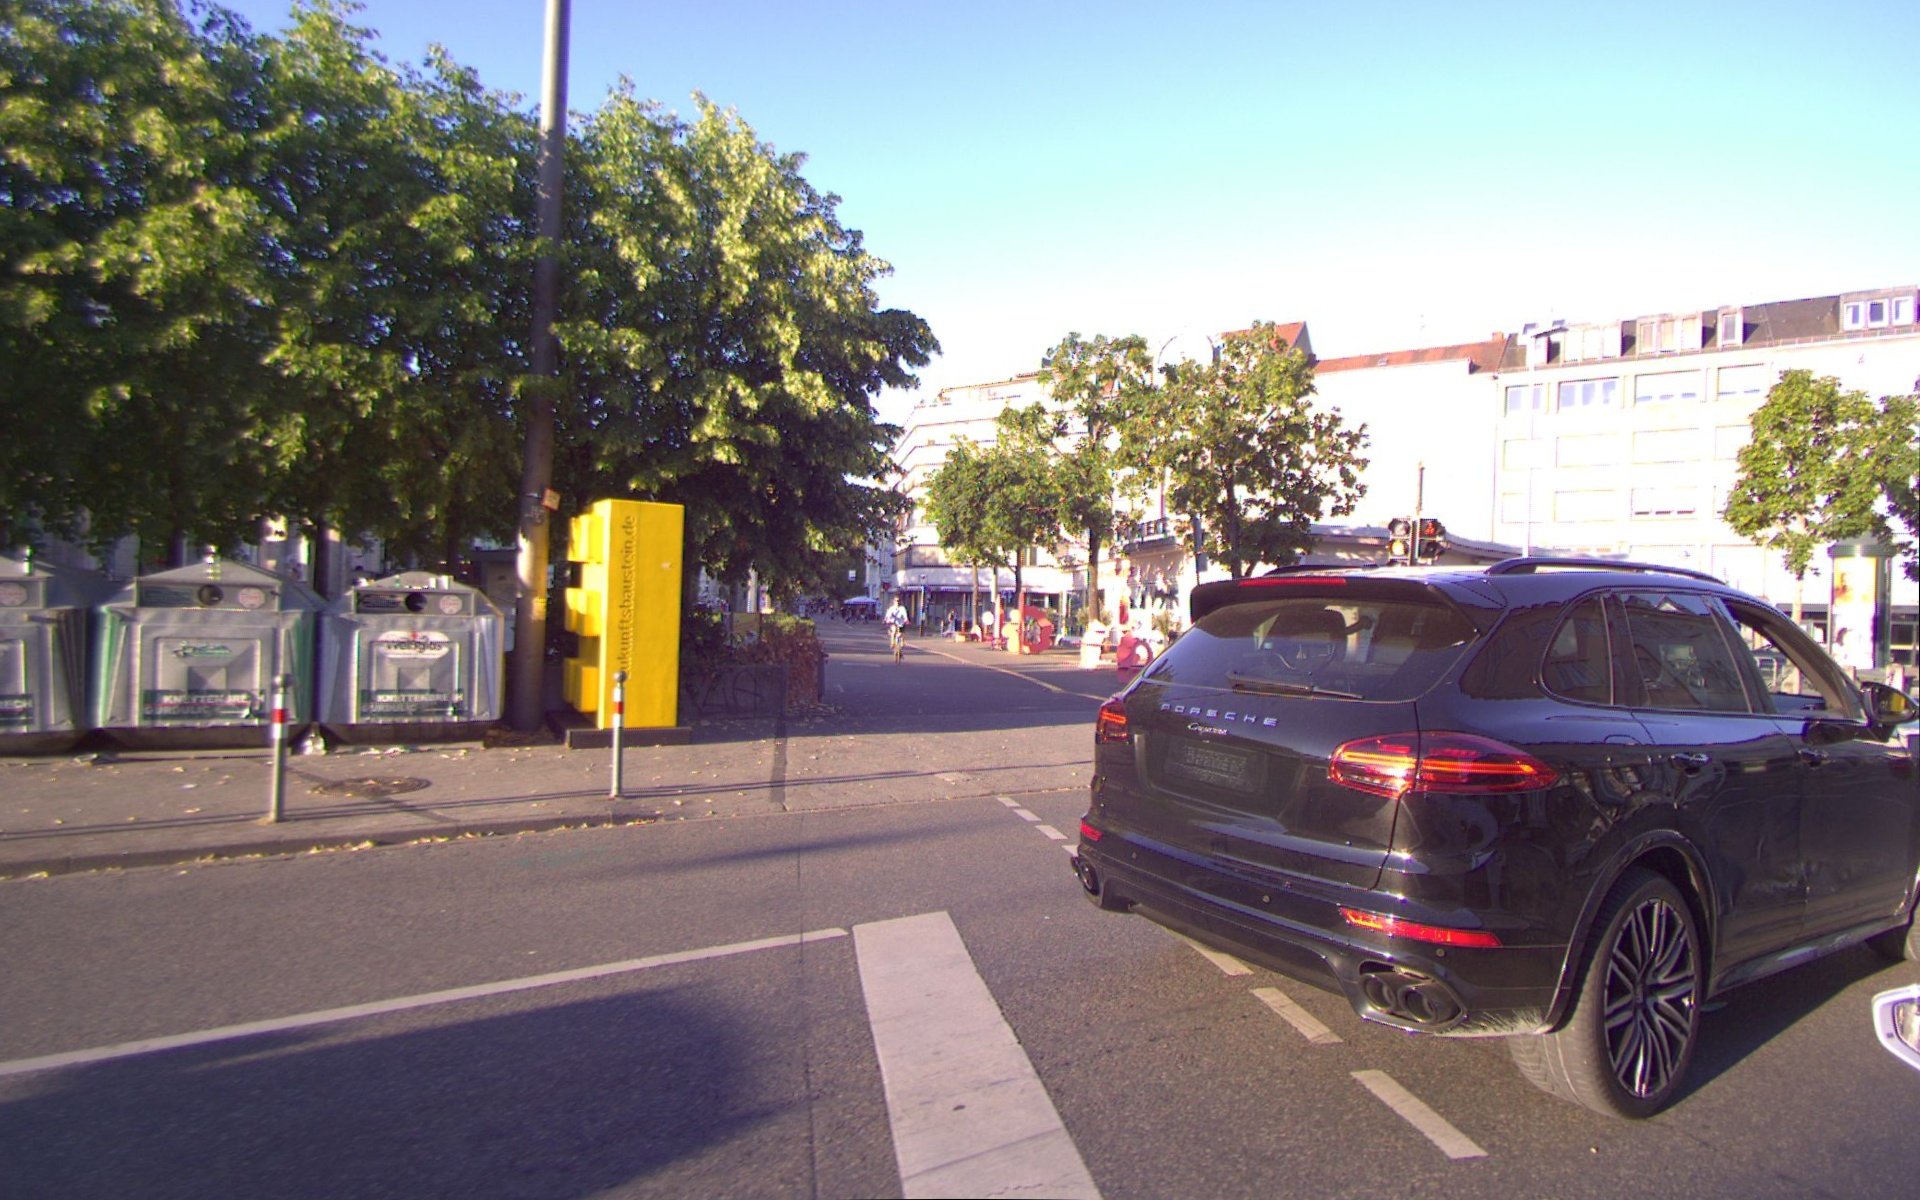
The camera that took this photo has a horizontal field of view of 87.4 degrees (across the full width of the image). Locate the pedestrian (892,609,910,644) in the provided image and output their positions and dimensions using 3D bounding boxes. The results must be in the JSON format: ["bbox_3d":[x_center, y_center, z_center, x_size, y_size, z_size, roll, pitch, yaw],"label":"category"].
[{"bbox_3d":[-3.545,1.576,60.395,0.650,2.040,0.809,3,0,33],"label":"pedestrian"}]

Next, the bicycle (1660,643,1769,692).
[{"bbox_3d":[21.916,1.947,29.235,0.778,1.273,2.432,2,-1,-29],"label":"bicycle"}]

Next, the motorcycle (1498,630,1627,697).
[{"bbox_3d":[14.479,1.499,24.239,0.858,1.448,2.569,2,-1,-29],"label":"motorcycle"}]

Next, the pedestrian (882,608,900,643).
[{"bbox_3d":[-4.107,1.532,59.754,0.650,2.040,0.809,3,0,35],"label":"pedestrian"}]

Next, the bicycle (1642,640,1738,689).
[{"bbox_3d":[20.798,1.814,28.648,0.938,1.273,1.996,2,-1,-29],"label":"bicycle"}]

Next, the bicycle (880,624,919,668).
[{"bbox_3d":[-1.673,1.233,27.321,0.693,1.132,1.916,2,-1,-14],"label":"bicycle"}]

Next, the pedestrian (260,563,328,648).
[{"bbox_3d":[-13.364,0.114,20.180,0.824,1.642,0.705,3,0,7],"label":"pedestrian"}]

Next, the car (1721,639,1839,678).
[{"bbox_3d":[37.751,2.648,46.292,1.985,1.506,3.951,2,0,-41],"label":"car"}]

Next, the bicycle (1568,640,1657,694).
[{"bbox_3d":[16.997,1.725,26.210,0.625,1.273,1.845,2,-1,-29],"label":"bicycle"}]

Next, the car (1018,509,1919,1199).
[{"bbox_3d":[2.664,0.718,4.454,4.511,1.737,1.938,2,-1,-32],"label":"car"}]

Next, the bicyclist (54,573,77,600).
[{"bbox_3d":[-49.576,-0.754,55.663,0.630,1.467,0.768,3,0,35],"label":"bicyclist"}]

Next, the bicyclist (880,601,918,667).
[{"bbox_3d":[-1.681,0.928,27.439,0.841,1.747,0.776,2,-1,-16],"label":"bicyclist"}]

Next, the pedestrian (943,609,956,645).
[{"bbox_3d":[-0.616,1.584,59.494,0.648,2.040,0.811,3,0,-1],"label":"pedestrian"}]

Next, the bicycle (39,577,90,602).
[{"bbox_3d":[-49.591,-0.557,55.654,0.571,1.277,2.023,3,0,35],"label":"bicycle"}]
